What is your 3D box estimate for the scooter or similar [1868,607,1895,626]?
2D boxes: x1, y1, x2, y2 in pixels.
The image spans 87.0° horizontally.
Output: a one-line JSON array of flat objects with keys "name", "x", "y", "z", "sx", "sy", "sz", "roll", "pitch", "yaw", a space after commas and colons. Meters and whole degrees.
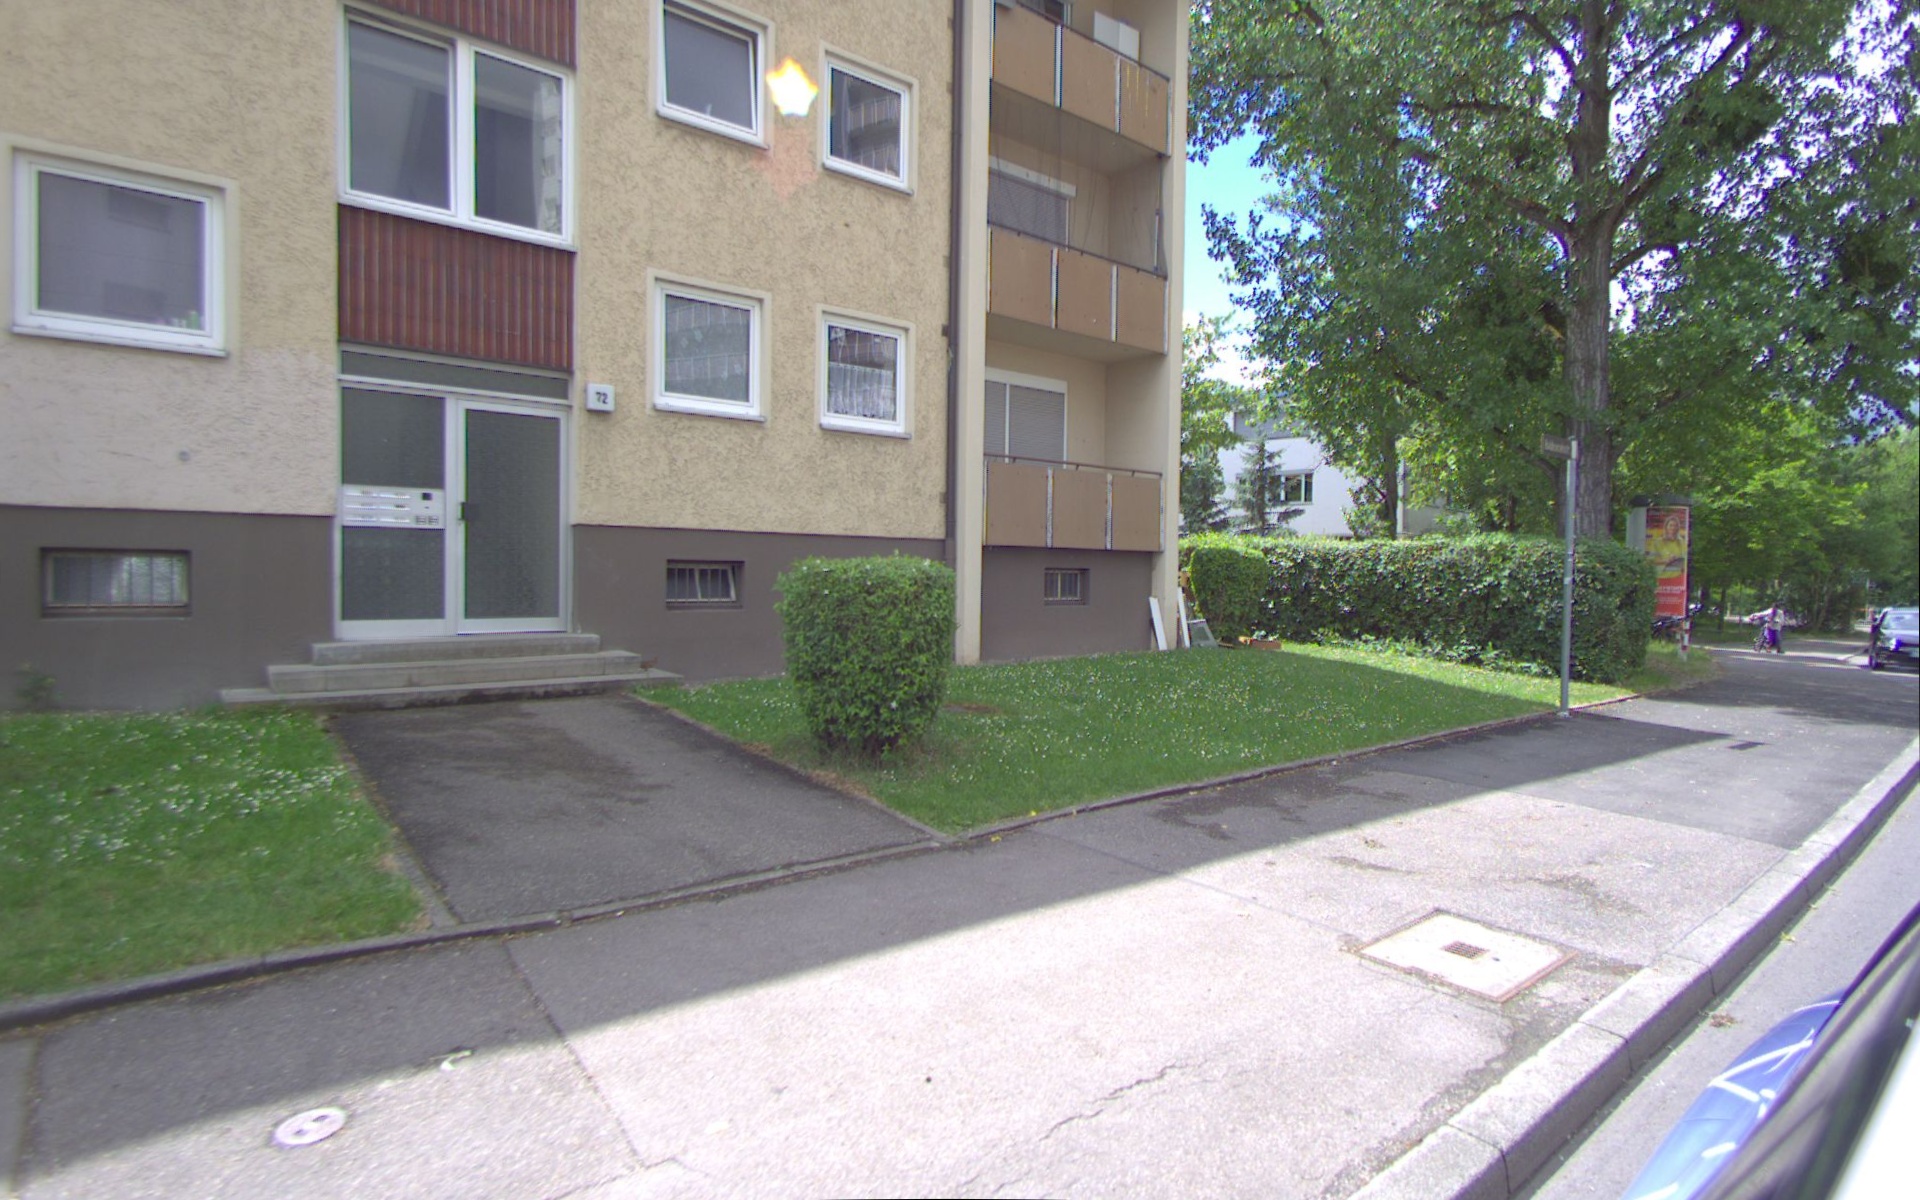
[{"name": "scooter or similar", "x": 64.573, "y": 1.145, "z": 70.923, "sx": 1.198, "sy": 1.250, "sz": 0.475, "roll": 3, "pitch": 1, "yaw": 25}]

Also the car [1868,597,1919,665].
[{"name": "car", "x": 22.702, "y": 0.742, "z": 23.696, "sx": 3.762, "sy": 1.466, "sz": 1.817, "roll": 2, "pitch": 2, "yaw": -44}]

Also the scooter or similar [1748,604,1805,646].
[{"name": "scooter or similar", "x": 22.750, "y": 0.703, "z": 28.187, "sx": 2.078, "sy": 1.077, "sz": 0.891, "roll": 2, "pitch": 1, "yaw": -43}]

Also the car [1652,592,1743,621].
[{"name": "car", "x": 49.486, "y": 0.394, "z": 67.941, "sx": 1.893, "sy": 1.610, "sz": 4.645, "roll": -2, "pitch": 5, "yaw": -45}]

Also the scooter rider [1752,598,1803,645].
[{"name": "scooter rider", "x": 22.807, "y": 0.606, "z": 28.232, "sx": 1.260, "sy": 1.235, "sz": 0.886, "roll": 2, "pitch": 1, "yaw": -43}]

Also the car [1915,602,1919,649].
[{"name": "car", "x": 39.120, "y": 1.062, "z": 39.998, "sx": 4.491, "sy": 1.784, "sz": 1.646, "roll": 2, "pitch": 2, "yaw": -43}]

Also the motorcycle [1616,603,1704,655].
[{"name": "motorcycle", "x": 18.521, "y": 0.759, "z": 26.822, "sx": 1.784, "sy": 1.225, "sz": 0.705, "roll": 4, "pitch": 1, "yaw": 28}]

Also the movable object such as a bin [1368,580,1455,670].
[{"name": "movable object such as a bin", "x": 7.798, "y": 0.408, "z": 17.493, "sx": 0.748, "sy": 1.456, "sz": 1.100, "roll": 2, "pitch": 2, "yaw": -42}]

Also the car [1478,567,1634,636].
[{"name": "car", "x": 18.420, "y": 0.009, "z": 31.508, "sx": 3.963, "sy": 1.845, "sz": 1.793, "roll": 4, "pitch": 1, "yaw": 27}]

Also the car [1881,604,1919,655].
[{"name": "car", "x": 32.299, "y": 1.014, "z": 33.992, "sx": 1.785, "sy": 1.584, "sz": 4.495, "roll": 4, "pitch": 2, "yaw": 45}]
